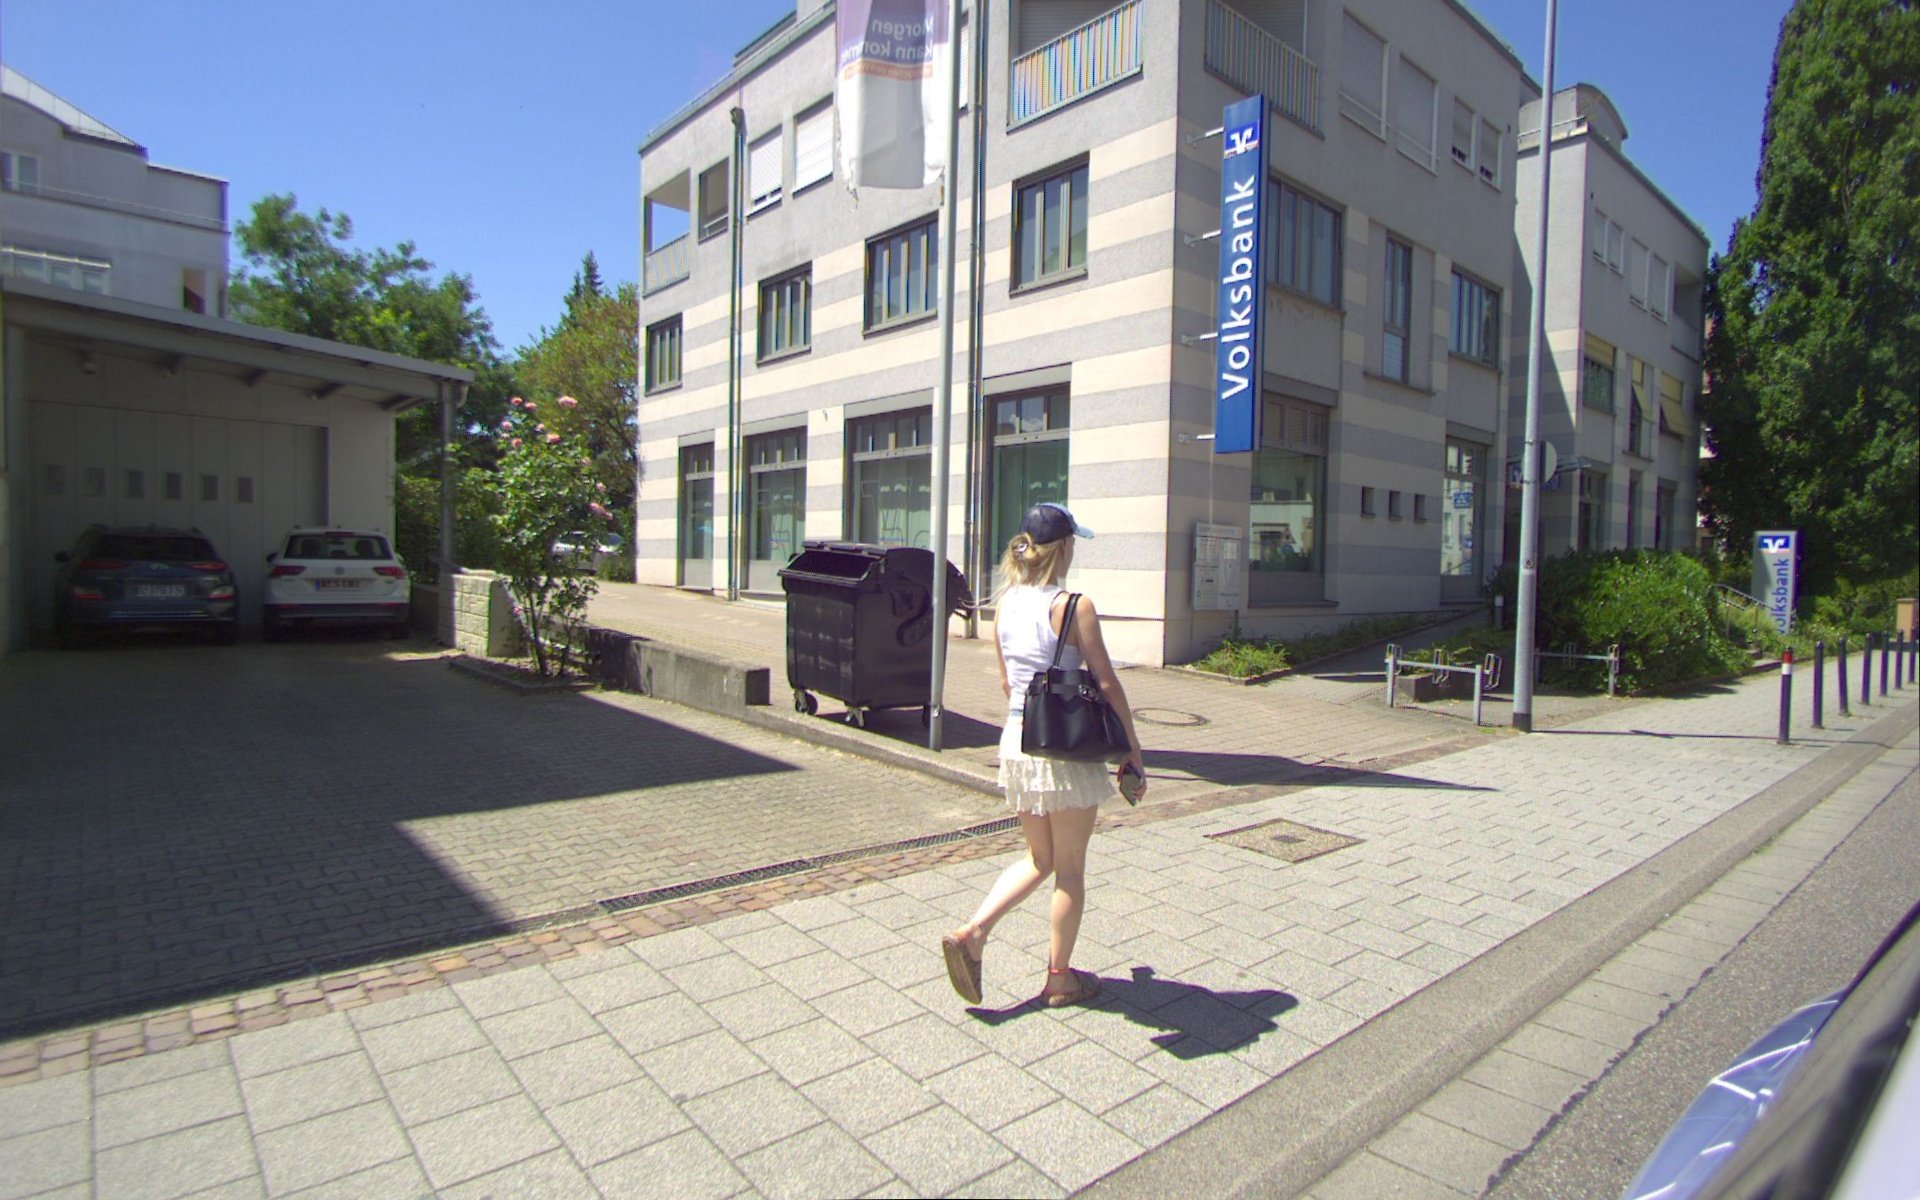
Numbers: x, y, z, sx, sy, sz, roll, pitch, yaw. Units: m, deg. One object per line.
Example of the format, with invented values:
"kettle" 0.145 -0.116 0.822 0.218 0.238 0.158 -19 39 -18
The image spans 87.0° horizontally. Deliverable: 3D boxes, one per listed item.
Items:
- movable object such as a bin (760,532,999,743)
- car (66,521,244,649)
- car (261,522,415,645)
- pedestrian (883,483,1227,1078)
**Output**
"movable object such as a bin" -0.671 0.231 8.251 1.356 1.476 1.372 0 5 -39
"car" -11.169 -0.247 13.953 1.723 1.510 3.739 0 2 -42
"car" -9.501 -0.325 15.524 1.775 1.627 4.005 0 3 -31
"pedestrian" 0.299 0.472 3.288 0.770 1.646 0.701 -1 5 -42
